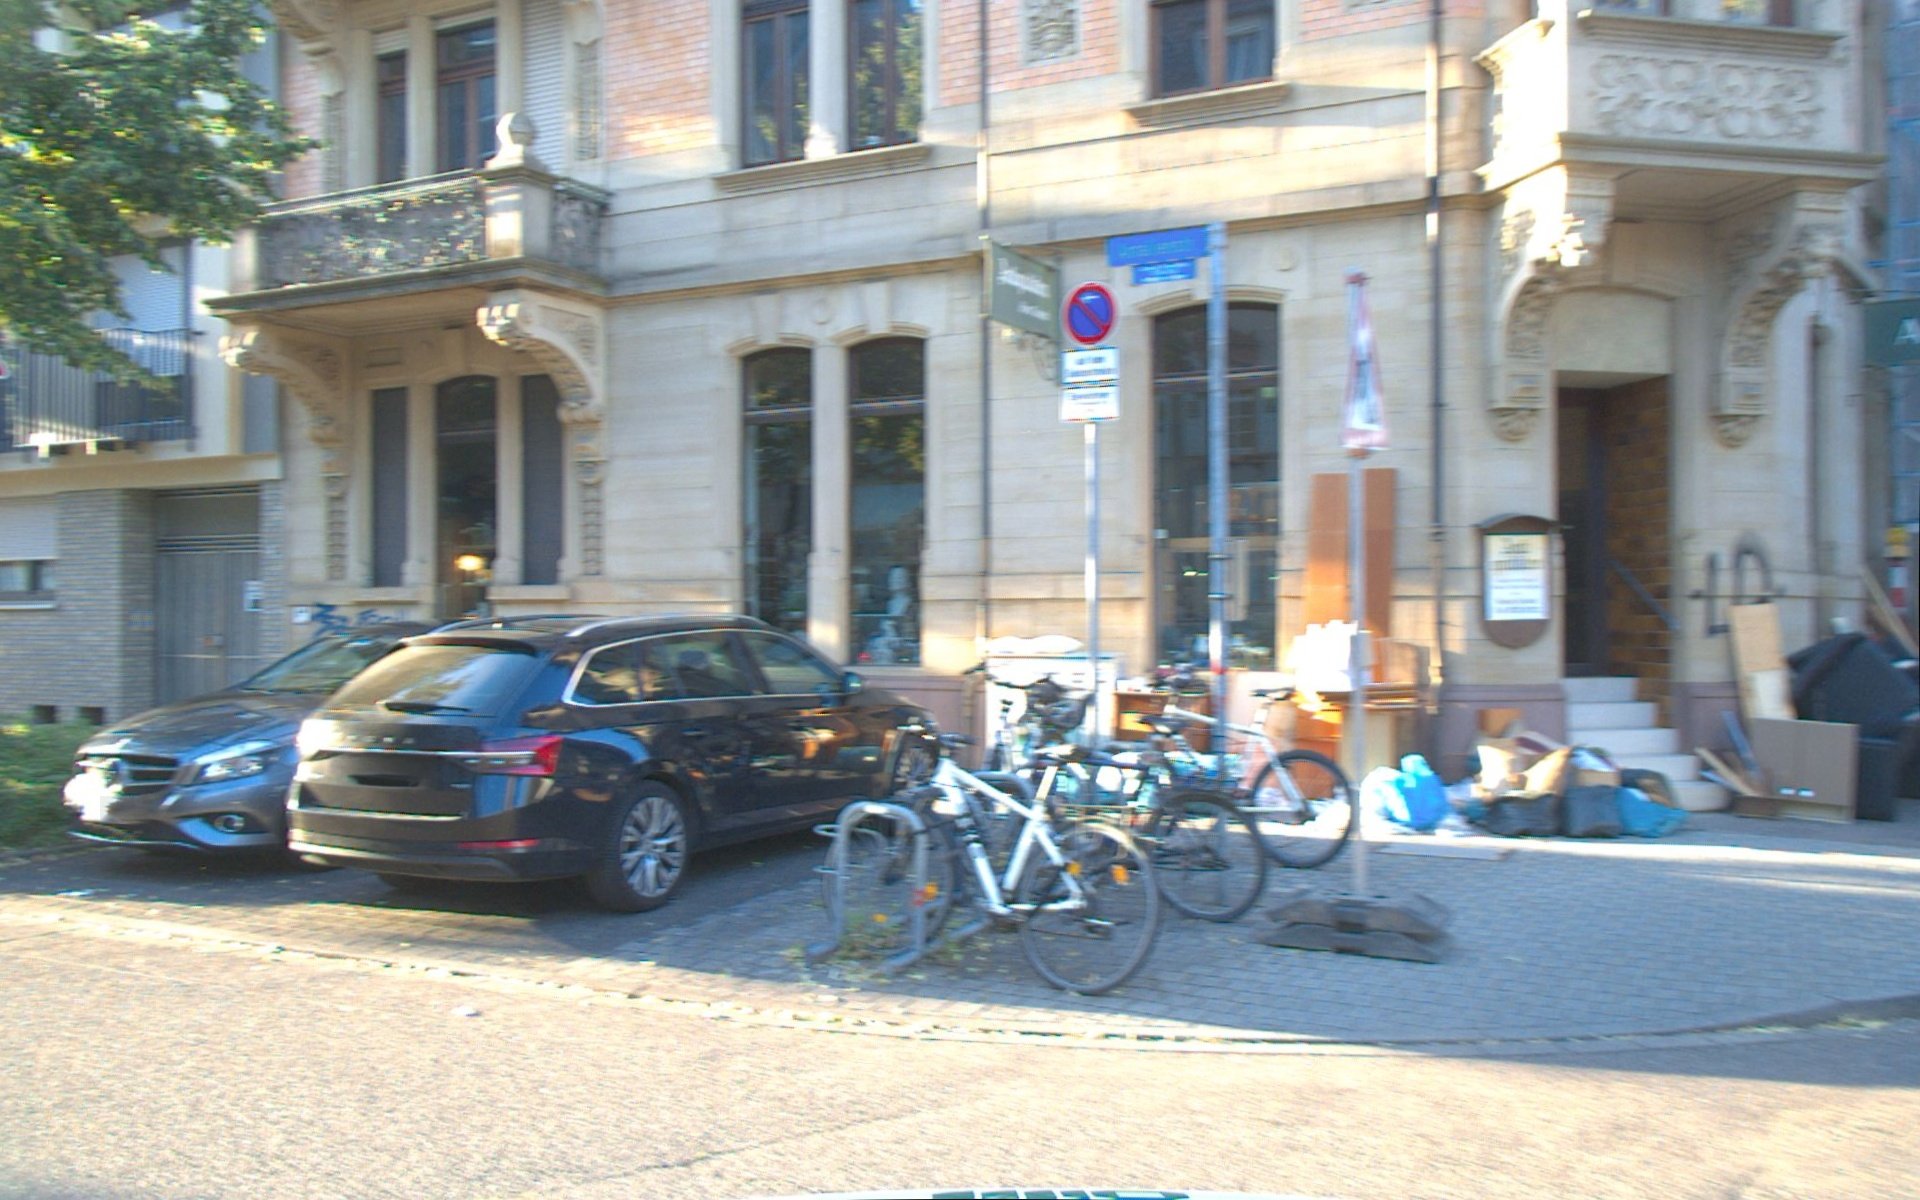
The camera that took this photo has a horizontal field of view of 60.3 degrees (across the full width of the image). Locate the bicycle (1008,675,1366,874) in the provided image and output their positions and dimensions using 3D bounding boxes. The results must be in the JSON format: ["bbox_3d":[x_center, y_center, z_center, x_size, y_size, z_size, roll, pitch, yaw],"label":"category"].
[{"bbox_3d":[1.319,0.994,9.819,2.062,1.058,0.465,-1,0,26],"label":"bicycle"}]

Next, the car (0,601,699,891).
[{"bbox_3d":[-3.900,0.809,11.425,1.825,1.505,4.536,-1,0,27],"label":"car"}]

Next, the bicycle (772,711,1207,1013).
[{"bbox_3d":[0.099,1.045,7.003,1.792,1.065,0.570,0,0,30],"label":"bicycle"}]

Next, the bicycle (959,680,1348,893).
[{"bbox_3d":[1.059,0.993,9.233,2.062,1.031,0.639,-1,0,26],"label":"bicycle"}]

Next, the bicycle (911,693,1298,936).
[{"bbox_3d":[0.699,1.005,8.151,1.790,1.031,0.639,-1,0,26],"label":"bicycle"}]

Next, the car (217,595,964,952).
[{"bbox_3d":[-1.832,0.782,9.822,1.868,1.537,4.536,-1,0,27],"label":"car"}]
